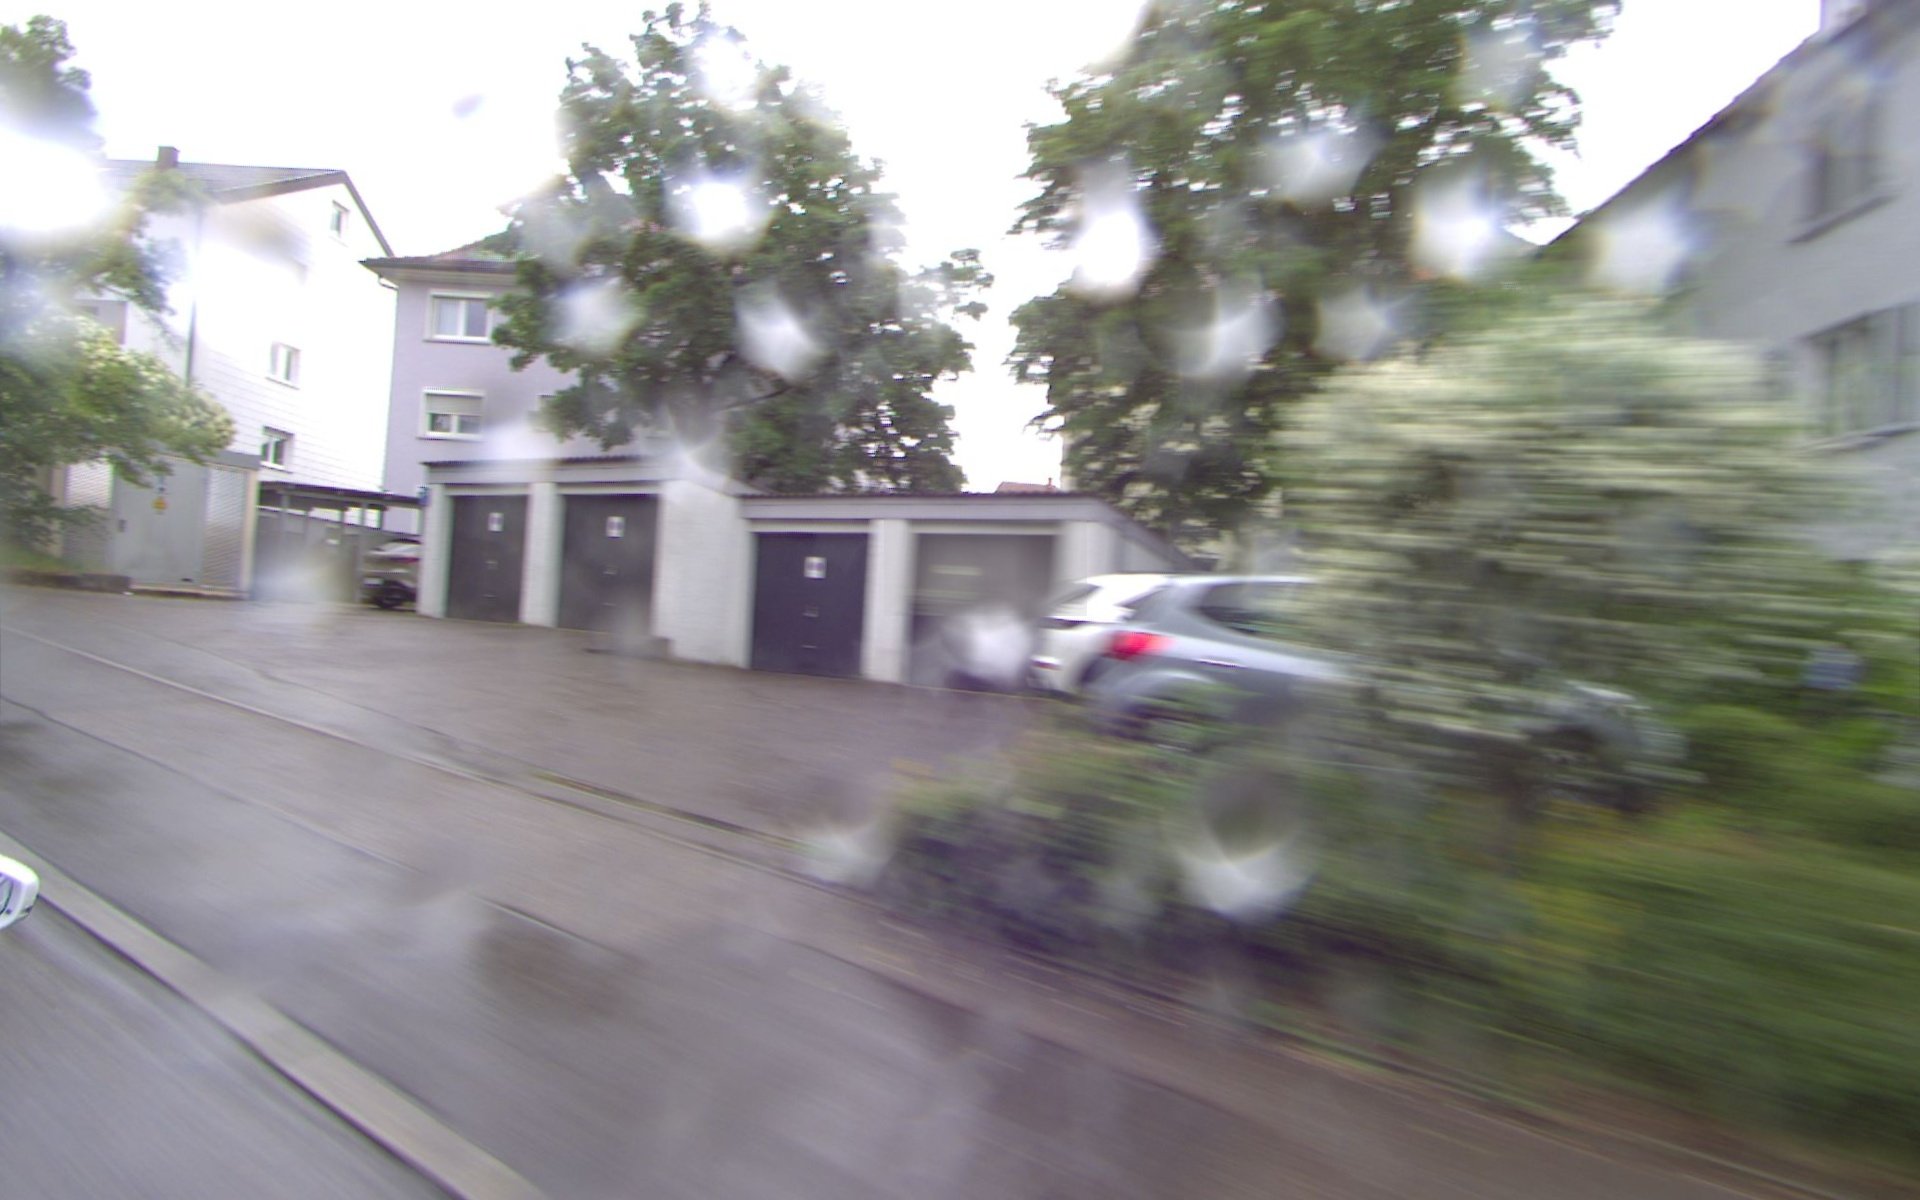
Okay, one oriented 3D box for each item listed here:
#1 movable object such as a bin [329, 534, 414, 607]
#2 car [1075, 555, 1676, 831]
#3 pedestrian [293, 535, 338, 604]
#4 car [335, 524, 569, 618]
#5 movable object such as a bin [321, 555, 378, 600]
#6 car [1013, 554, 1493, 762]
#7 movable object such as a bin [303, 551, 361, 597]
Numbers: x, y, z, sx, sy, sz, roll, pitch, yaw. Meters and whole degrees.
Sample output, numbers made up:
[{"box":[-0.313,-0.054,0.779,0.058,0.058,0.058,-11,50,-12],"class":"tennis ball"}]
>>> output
[{"box":[-13.504,-0.673,23.114,1.100,1.410,1.140,8,-2,31],"class":"movable object such as a bin"},{"box":[2.844,0.571,7.625,3.722,1.584,1.723,4,2,11],"class":"car"},{"box":[-16.357,-0.770,25.543,0.605,1.655,0.582,7,0,28],"class":"pedestrian"},{"box":[-9.851,-0.506,19.779,1.765,1.448,3.707,4,-1,28],"class":"car"},{"box":[-14.375,-0.530,23.704,0.718,0.911,0.795,8,-2,31],"class":"movable object such as a bin"},{"box":[2.808,0.473,10.188,4.176,1.615,1.794,4,2,15],"class":"car"},{"box":[-15.035,-0.616,24.090,0.778,0.923,0.795,8,-2,31],"class":"movable object such as a bin"}]
